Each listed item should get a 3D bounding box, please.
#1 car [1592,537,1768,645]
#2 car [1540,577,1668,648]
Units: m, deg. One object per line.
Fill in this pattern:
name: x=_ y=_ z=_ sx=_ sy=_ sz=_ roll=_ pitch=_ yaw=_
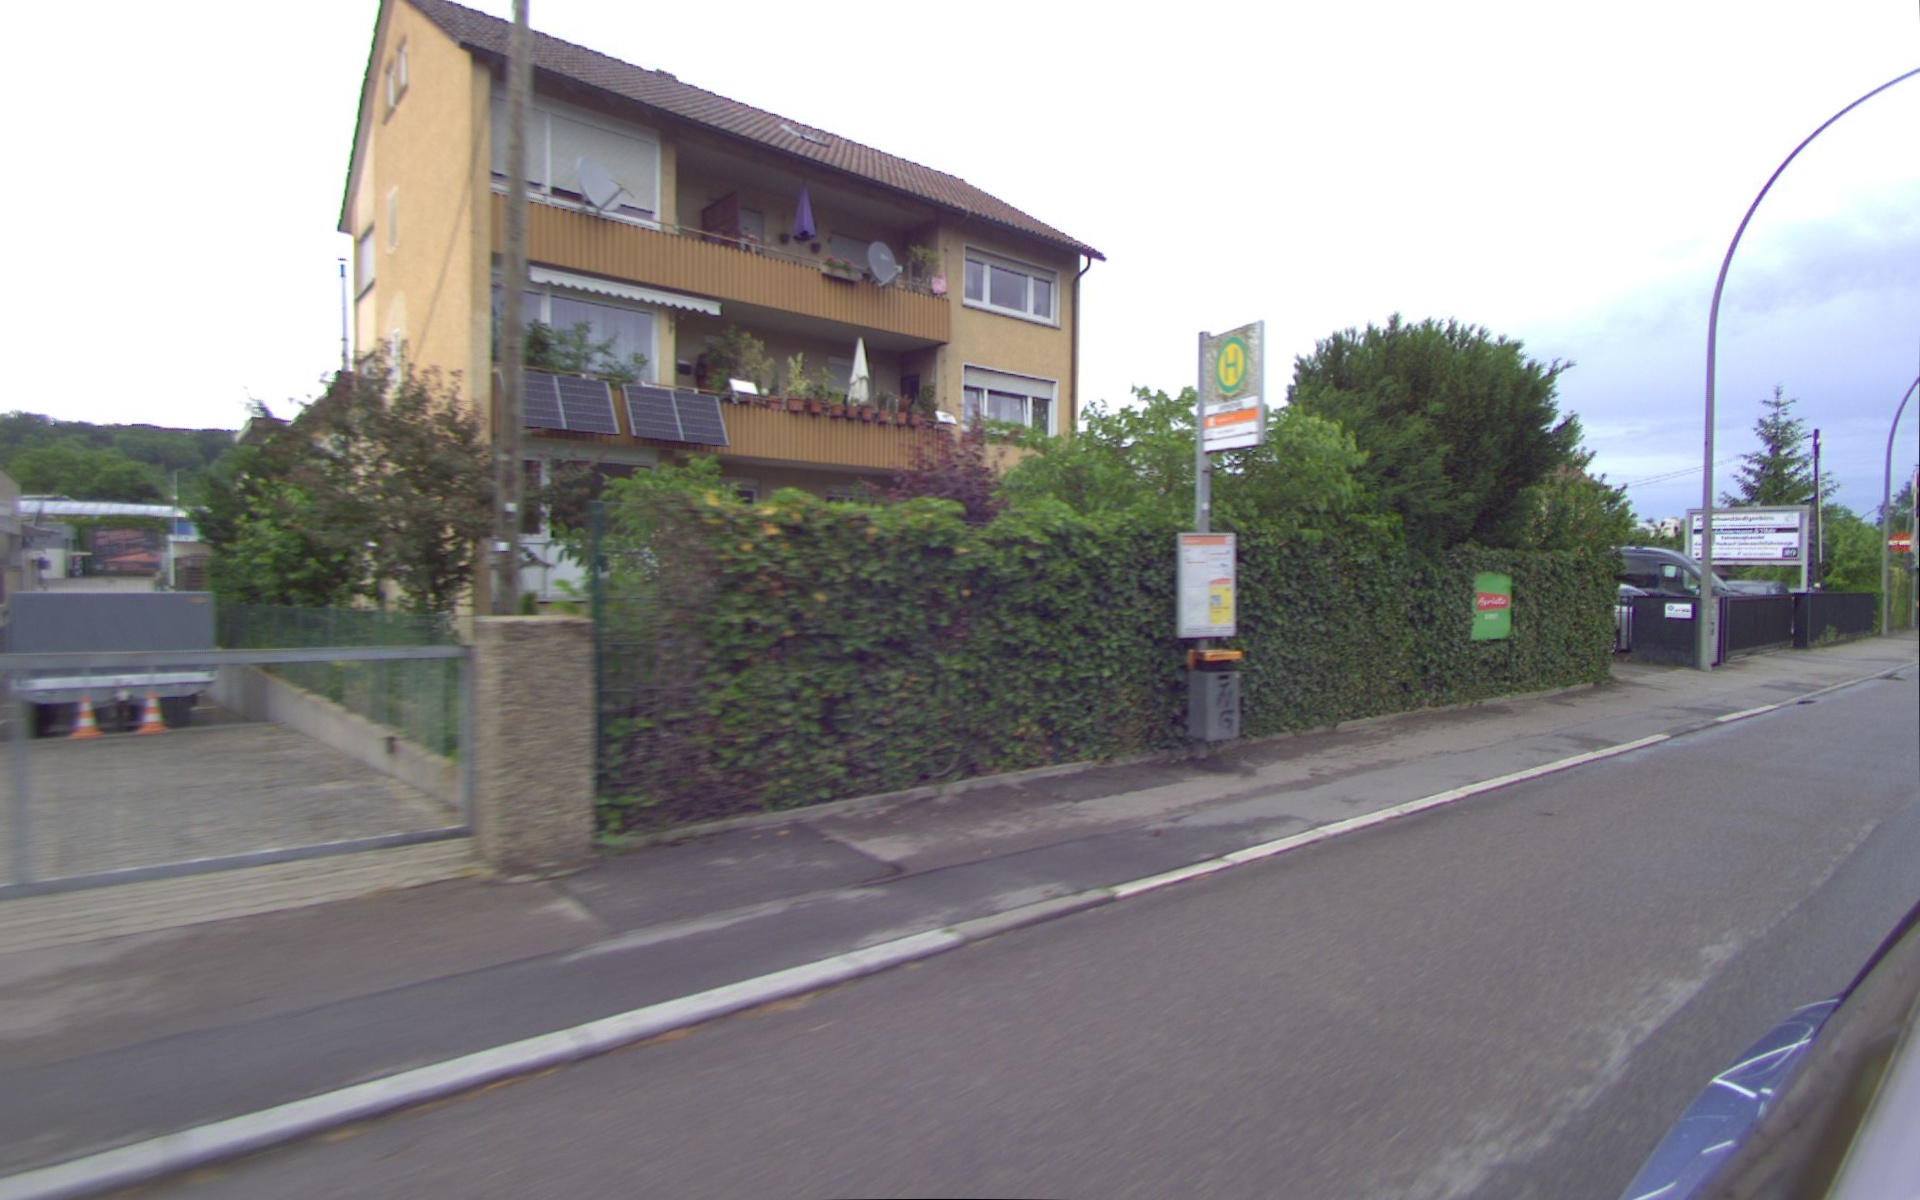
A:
car: x=19.044 y=-0.236 z=26.847 sx=1.915 sy=2.645 sz=3.453 roll=0 pitch=0 yaw=-41
car: x=13.673 y=0.231 z=21.436 sx=3.273 sy=1.389 sz=1.411 roll=-1 pitch=0 yaw=-41
